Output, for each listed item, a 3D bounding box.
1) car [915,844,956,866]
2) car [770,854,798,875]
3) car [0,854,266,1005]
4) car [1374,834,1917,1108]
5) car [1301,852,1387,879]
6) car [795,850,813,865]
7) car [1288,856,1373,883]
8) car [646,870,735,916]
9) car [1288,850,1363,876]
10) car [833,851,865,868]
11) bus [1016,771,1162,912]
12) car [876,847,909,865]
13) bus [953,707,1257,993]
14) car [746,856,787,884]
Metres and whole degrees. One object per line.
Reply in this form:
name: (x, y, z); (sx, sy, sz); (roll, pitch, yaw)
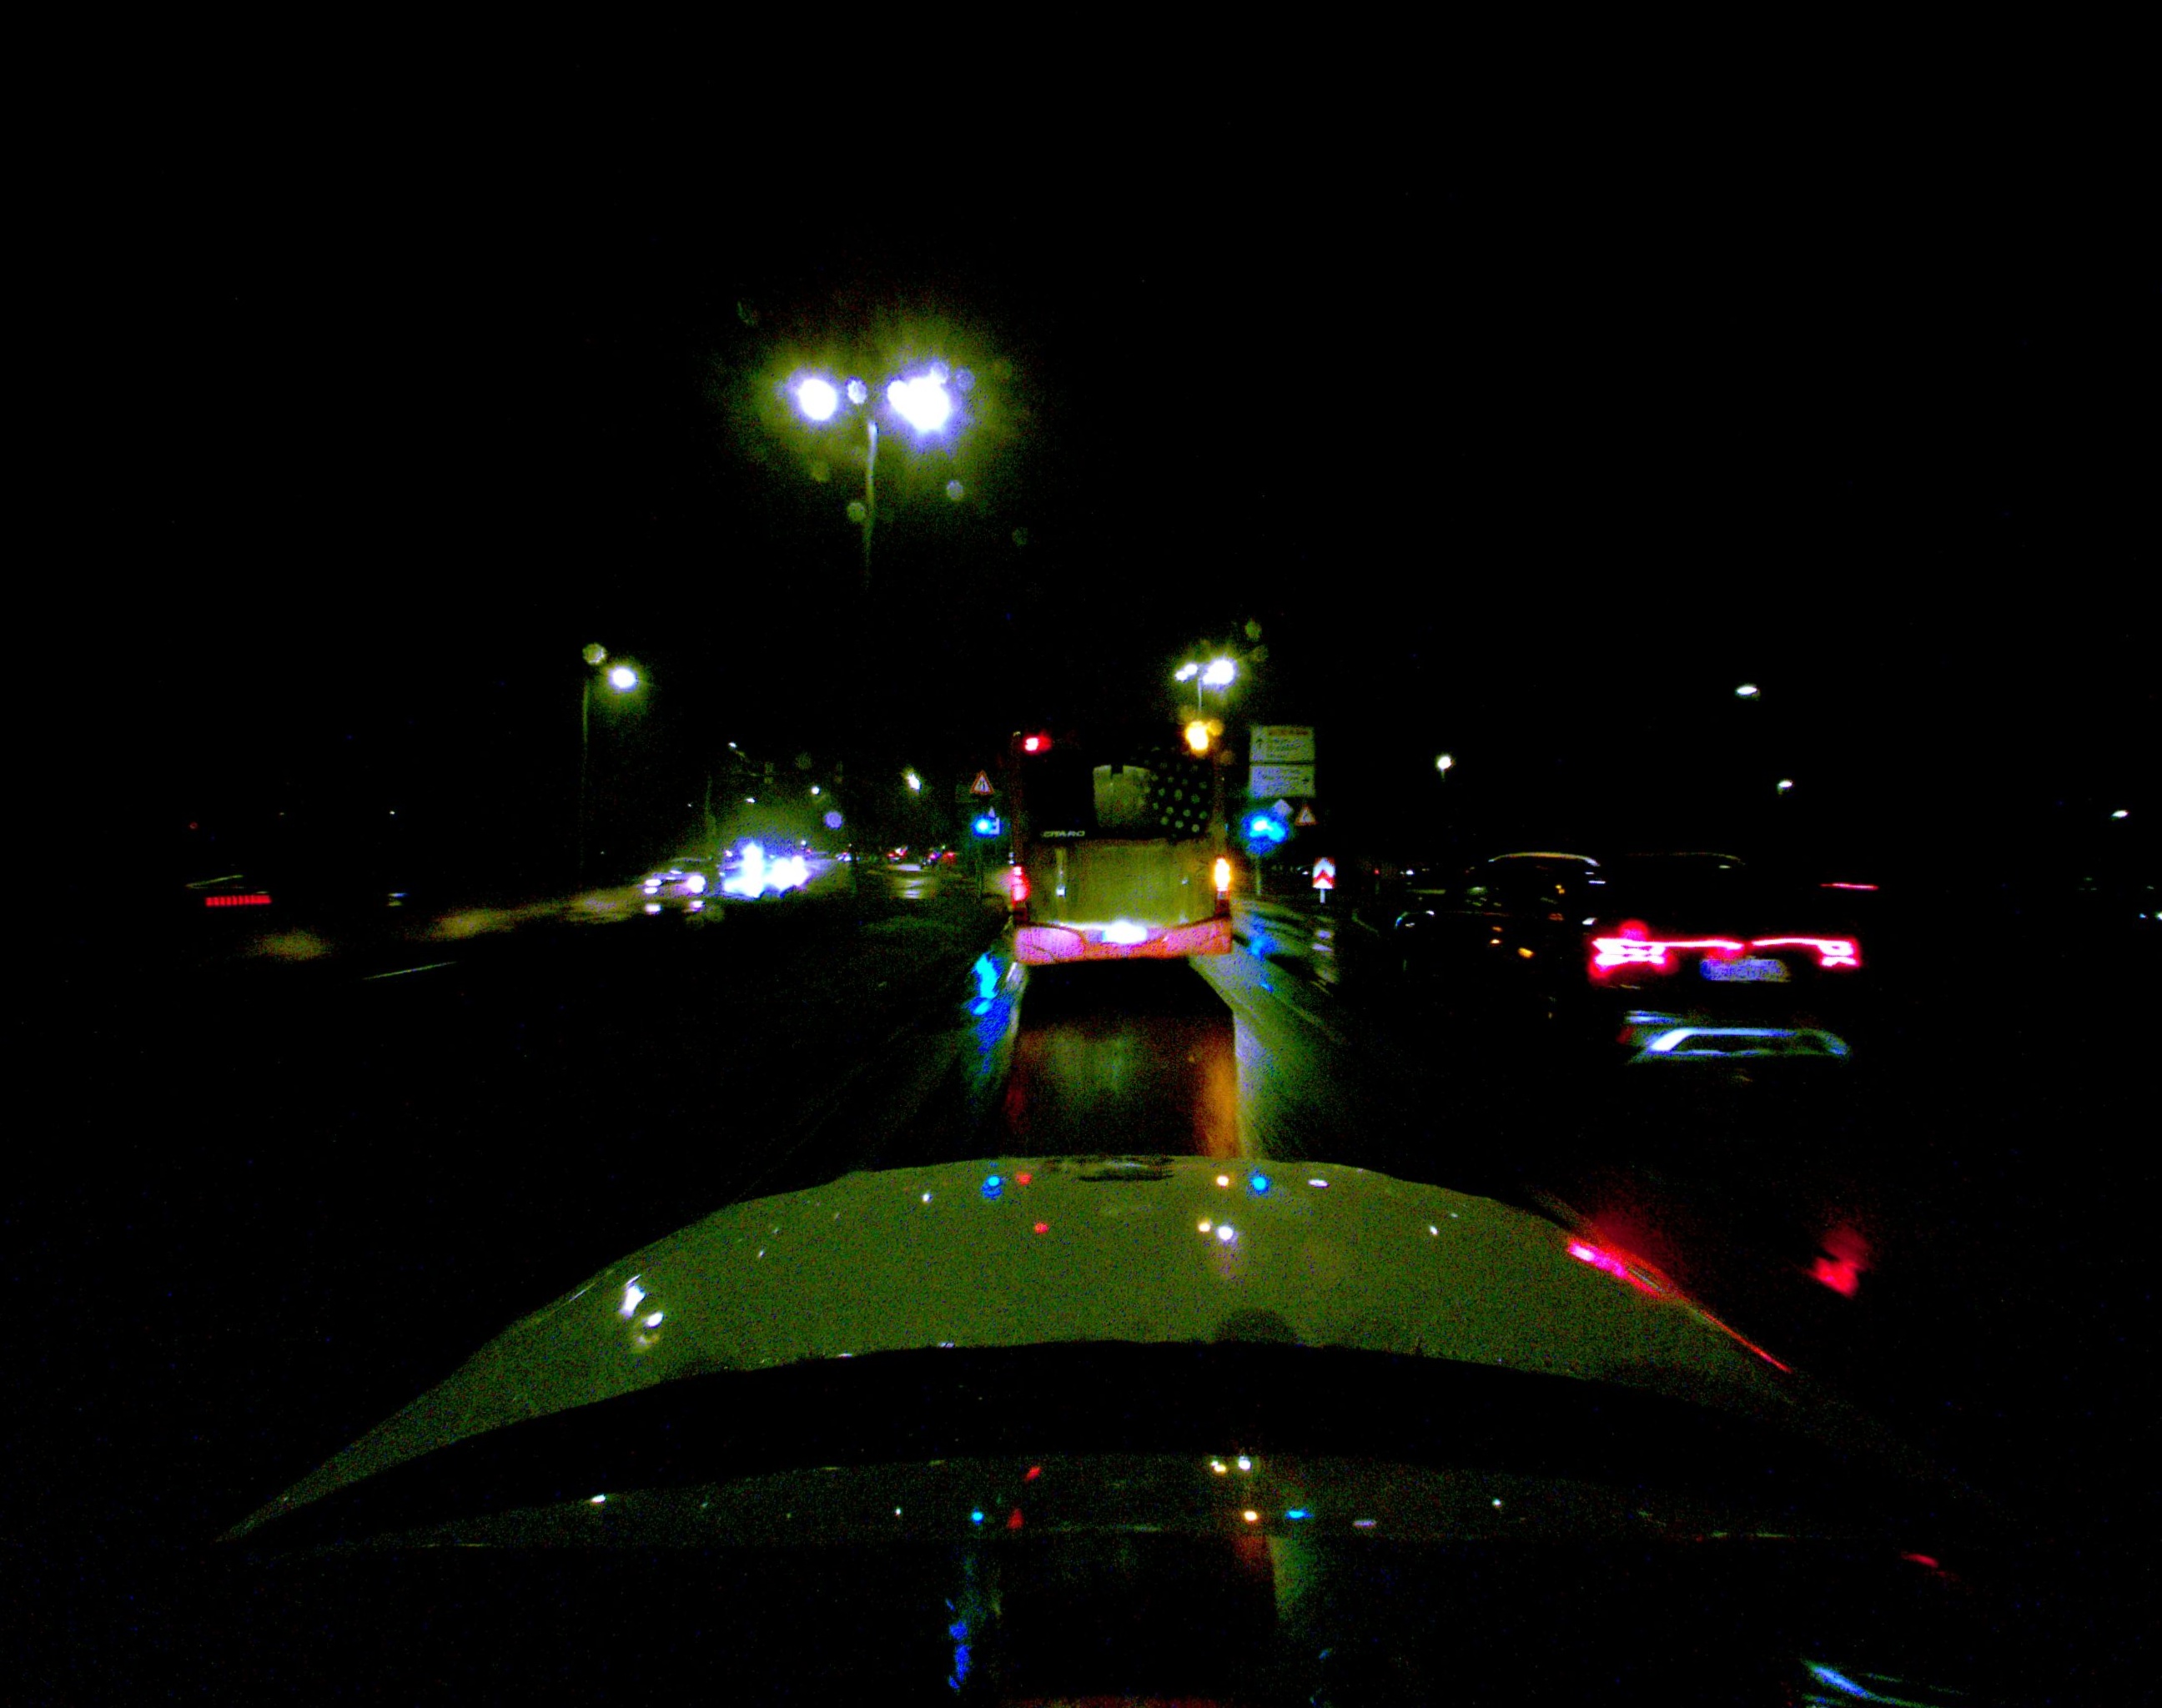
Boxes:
car: (-11.225, 0.075, 62.669); (1.827, 1.618, 3.961); (1, -1, -30)
car: (-22.663, 0.804, 62.087); (1.797, 1.456, 4.543); (-2, -1, -22)
car: (-12.308, 0.815, 9.198); (1.771, 1.593, 4.554); (-1, -1, -3)
car: (3.883, 0.690, 6.560); (1.671, 1.521, 3.960); (1, -1, 0)
car: (15.473, 0.669, 48.071); (4.472, 1.519, 1.855); (1, 1, -3)
car: (-33.865, 0.461, 99.610); (1.999, 1.721, 3.974); (1, -1, -19)
car: (13.438, 0.809, 43.924); (4.033, 1.345, 1.745); (1, 1, -3)
car: (-14.282, 1.382, 30.002); (1.733, 1.496, 3.930); (-2, -1, -7)
car: (15.328, 0.565, 51.163); (4.154, 1.519, 1.855); (1, 1, -3)
car: (-23.928, 0.553, 83.829); (2.103, 1.644, 3.692); (5, -2, -33)
bus: (-0.006, -0.335, 22.761); (3.240, 3.120, 8.637); (2, 1, -3)
car: (-17.546, 0.232, 75.800); (1.828, 1.618, 3.959); (1, -1, -32)
bus: (0.208, -0.106, 13.749); (3.275, 3.050, 9.540); (-2, 1, -1)
car: (-18.293, 0.894, 47.491); (1.794, 1.456, 4.552); (-2, 1, -16)
